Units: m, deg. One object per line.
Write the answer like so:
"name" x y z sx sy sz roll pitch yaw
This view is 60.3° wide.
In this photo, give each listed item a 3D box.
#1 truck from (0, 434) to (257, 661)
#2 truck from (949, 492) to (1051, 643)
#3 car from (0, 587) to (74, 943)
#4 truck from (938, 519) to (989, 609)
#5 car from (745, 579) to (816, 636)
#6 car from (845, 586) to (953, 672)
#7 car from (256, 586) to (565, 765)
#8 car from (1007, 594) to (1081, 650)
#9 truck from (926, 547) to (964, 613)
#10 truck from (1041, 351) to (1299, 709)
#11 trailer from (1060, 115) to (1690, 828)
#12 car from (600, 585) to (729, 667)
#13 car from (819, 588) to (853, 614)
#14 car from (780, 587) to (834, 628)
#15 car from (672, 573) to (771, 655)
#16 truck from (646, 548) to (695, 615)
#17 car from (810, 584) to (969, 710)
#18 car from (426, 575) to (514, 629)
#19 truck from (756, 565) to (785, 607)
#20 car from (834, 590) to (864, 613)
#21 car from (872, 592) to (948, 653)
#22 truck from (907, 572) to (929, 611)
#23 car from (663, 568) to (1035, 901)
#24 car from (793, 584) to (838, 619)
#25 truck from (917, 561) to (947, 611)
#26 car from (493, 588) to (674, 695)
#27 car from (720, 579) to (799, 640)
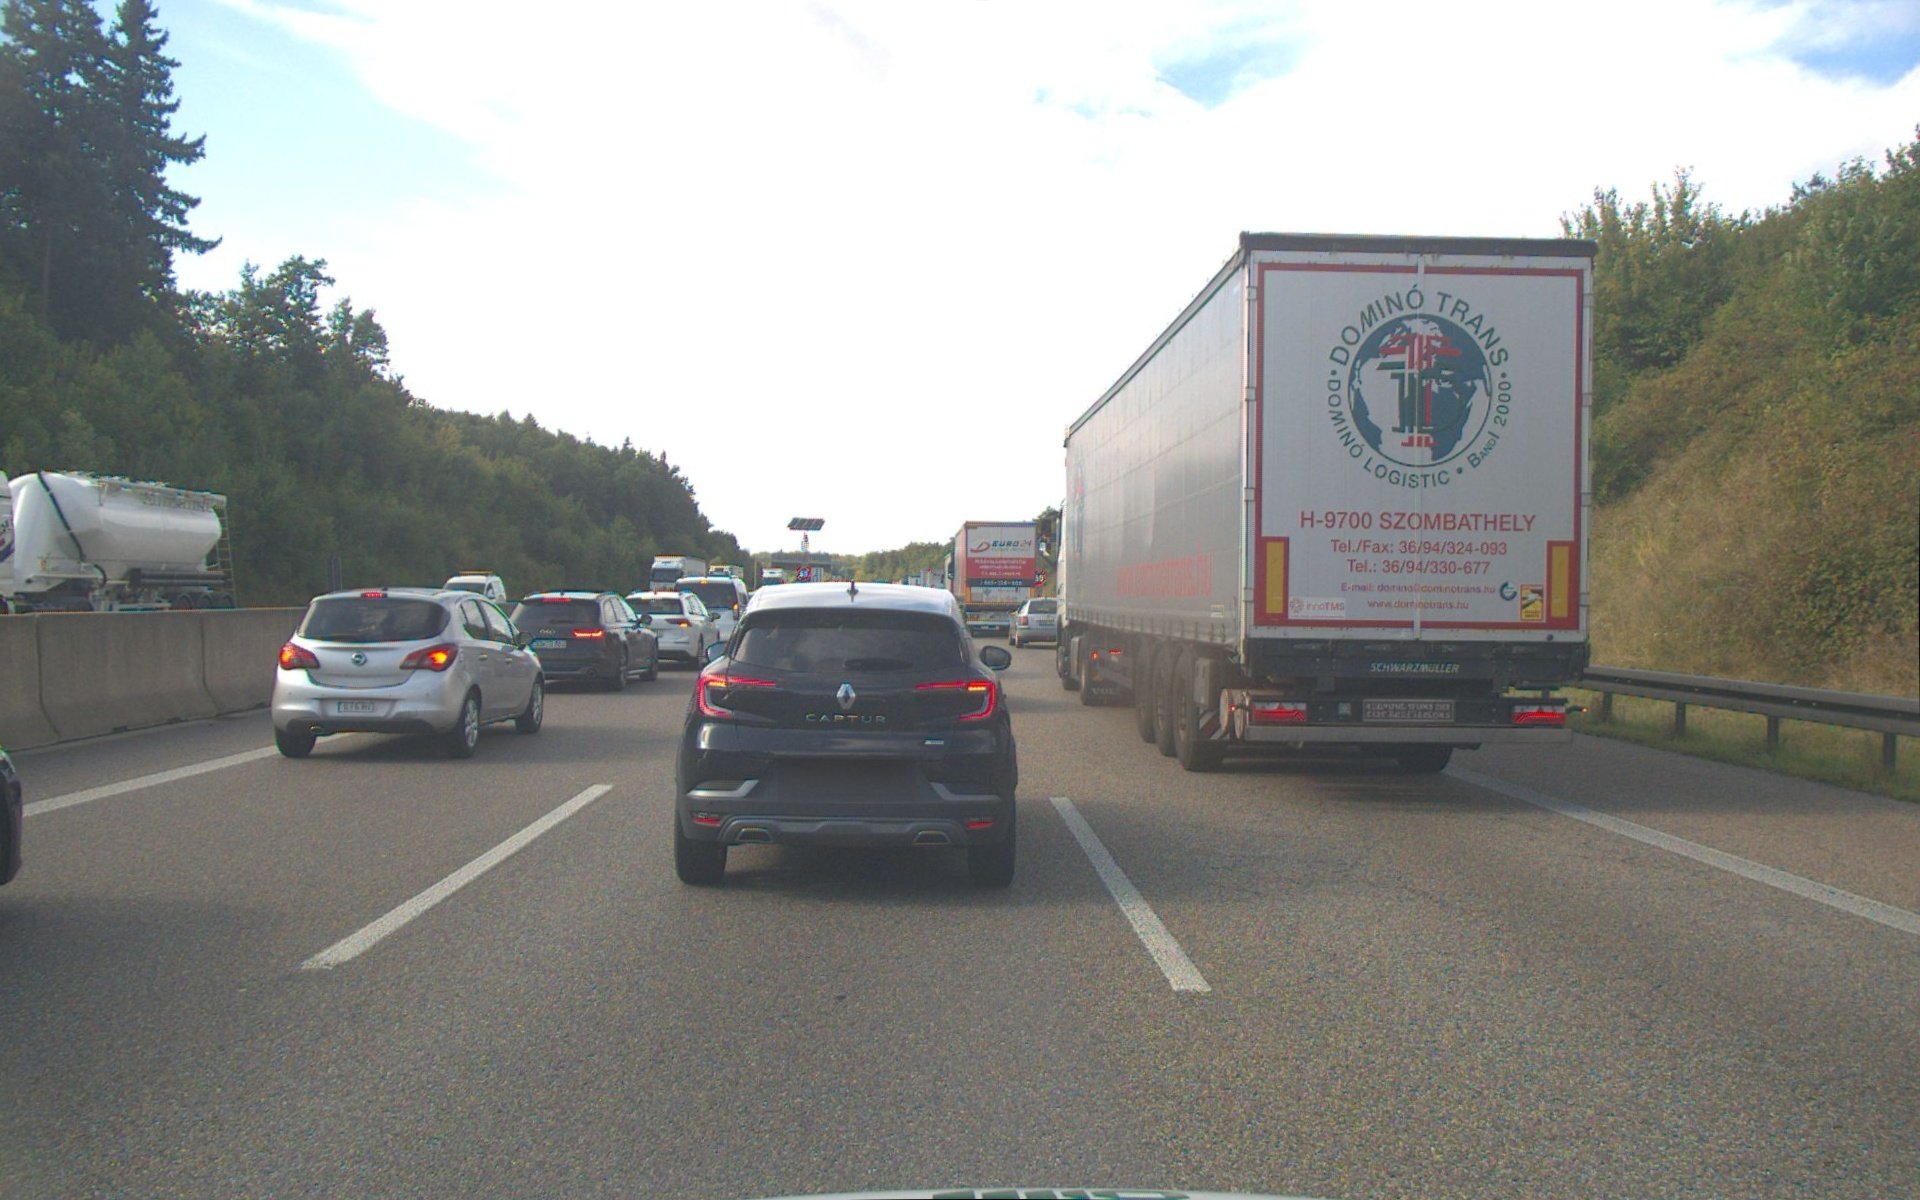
"truck" -20.413 -1.015 38.176 2.873 4.430 13.904 1 0 -2
"truck" 1.333 -1.093 63.163 3.296 5.132 12.734 1 0 -1
"car" -4.940 0.691 5.081 1.844 1.497 4.851 1 0 -1
"truck" 0.157 -2.236 110.295 3.102 5.601 12.734 1 0 -1
"car" -5.876 0.248 54.500 1.953 1.752 3.999 1 0 -1
"car" -1.150 0.535 32.100 1.953 1.540 3.999 1 0 -1
"car" -5.062 0.613 15.810 1.711 1.491 4.039 0 0 -2
"car" 2.418 0.634 48.509 1.768 1.559 3.923 1 0 -3
"truck" -1.281 -1.687 147.169 3.101 5.601 12.737 1 0 0
"truck" 2.961 -0.946 25.120 2.937 4.749 5.937 1 0 -2
"trailer" 3.212 -0.890 17.778 2.941 4.742 13.284 1 0 -2
"car" -5.731 0.492 32.553 1.768 1.486 4.308 1 0 -1
"car" -7.871 0.045 105.390 1.953 1.641 3.999 1 0 -1
"car" -6.464 0.312 70.139 1.953 1.641 3.999 1 0 -1
"car" -5.650 0.332 39.659 1.873 1.821 4.415 1 0 -3
"truck" -23.937 -1.450 136.878 2.978 5.344 6.880 1 0 -2
"car" -0.912 0.595 22.616 1.953 1.540 3.999 1 0 -1
"car" -16.634 0.051 56.337 1.815 1.742 4.322 1 0 -2
"truck" -24.018 -1.722 209.616 3.026 5.190 7.138 1 0 -2
"car" -7.930 0.099 118.729 1.953 1.641 3.999 1 0 -1
"car" -1.343 0.593 45.063 1.953 1.540 3.999 1 0 -1
"truck" -6.285 -1.230 248.565 3.102 5.601 12.734 1 0 -1
"car" -0.508 0.642 9.910 1.767 1.579 4.000 0 0 1
"car" -7.102 0.073 81.650 1.953 1.641 3.999 1 0 -1
"truck" -3.054 -1.489 181.703 3.102 5.250 12.734 1 0 -1
"car" -5.724 0.577 25.737 1.805 1.481 4.746 1 0 -1
"car" -5.735 0.269 47.717 1.818 1.669 3.925 1 0 -1
